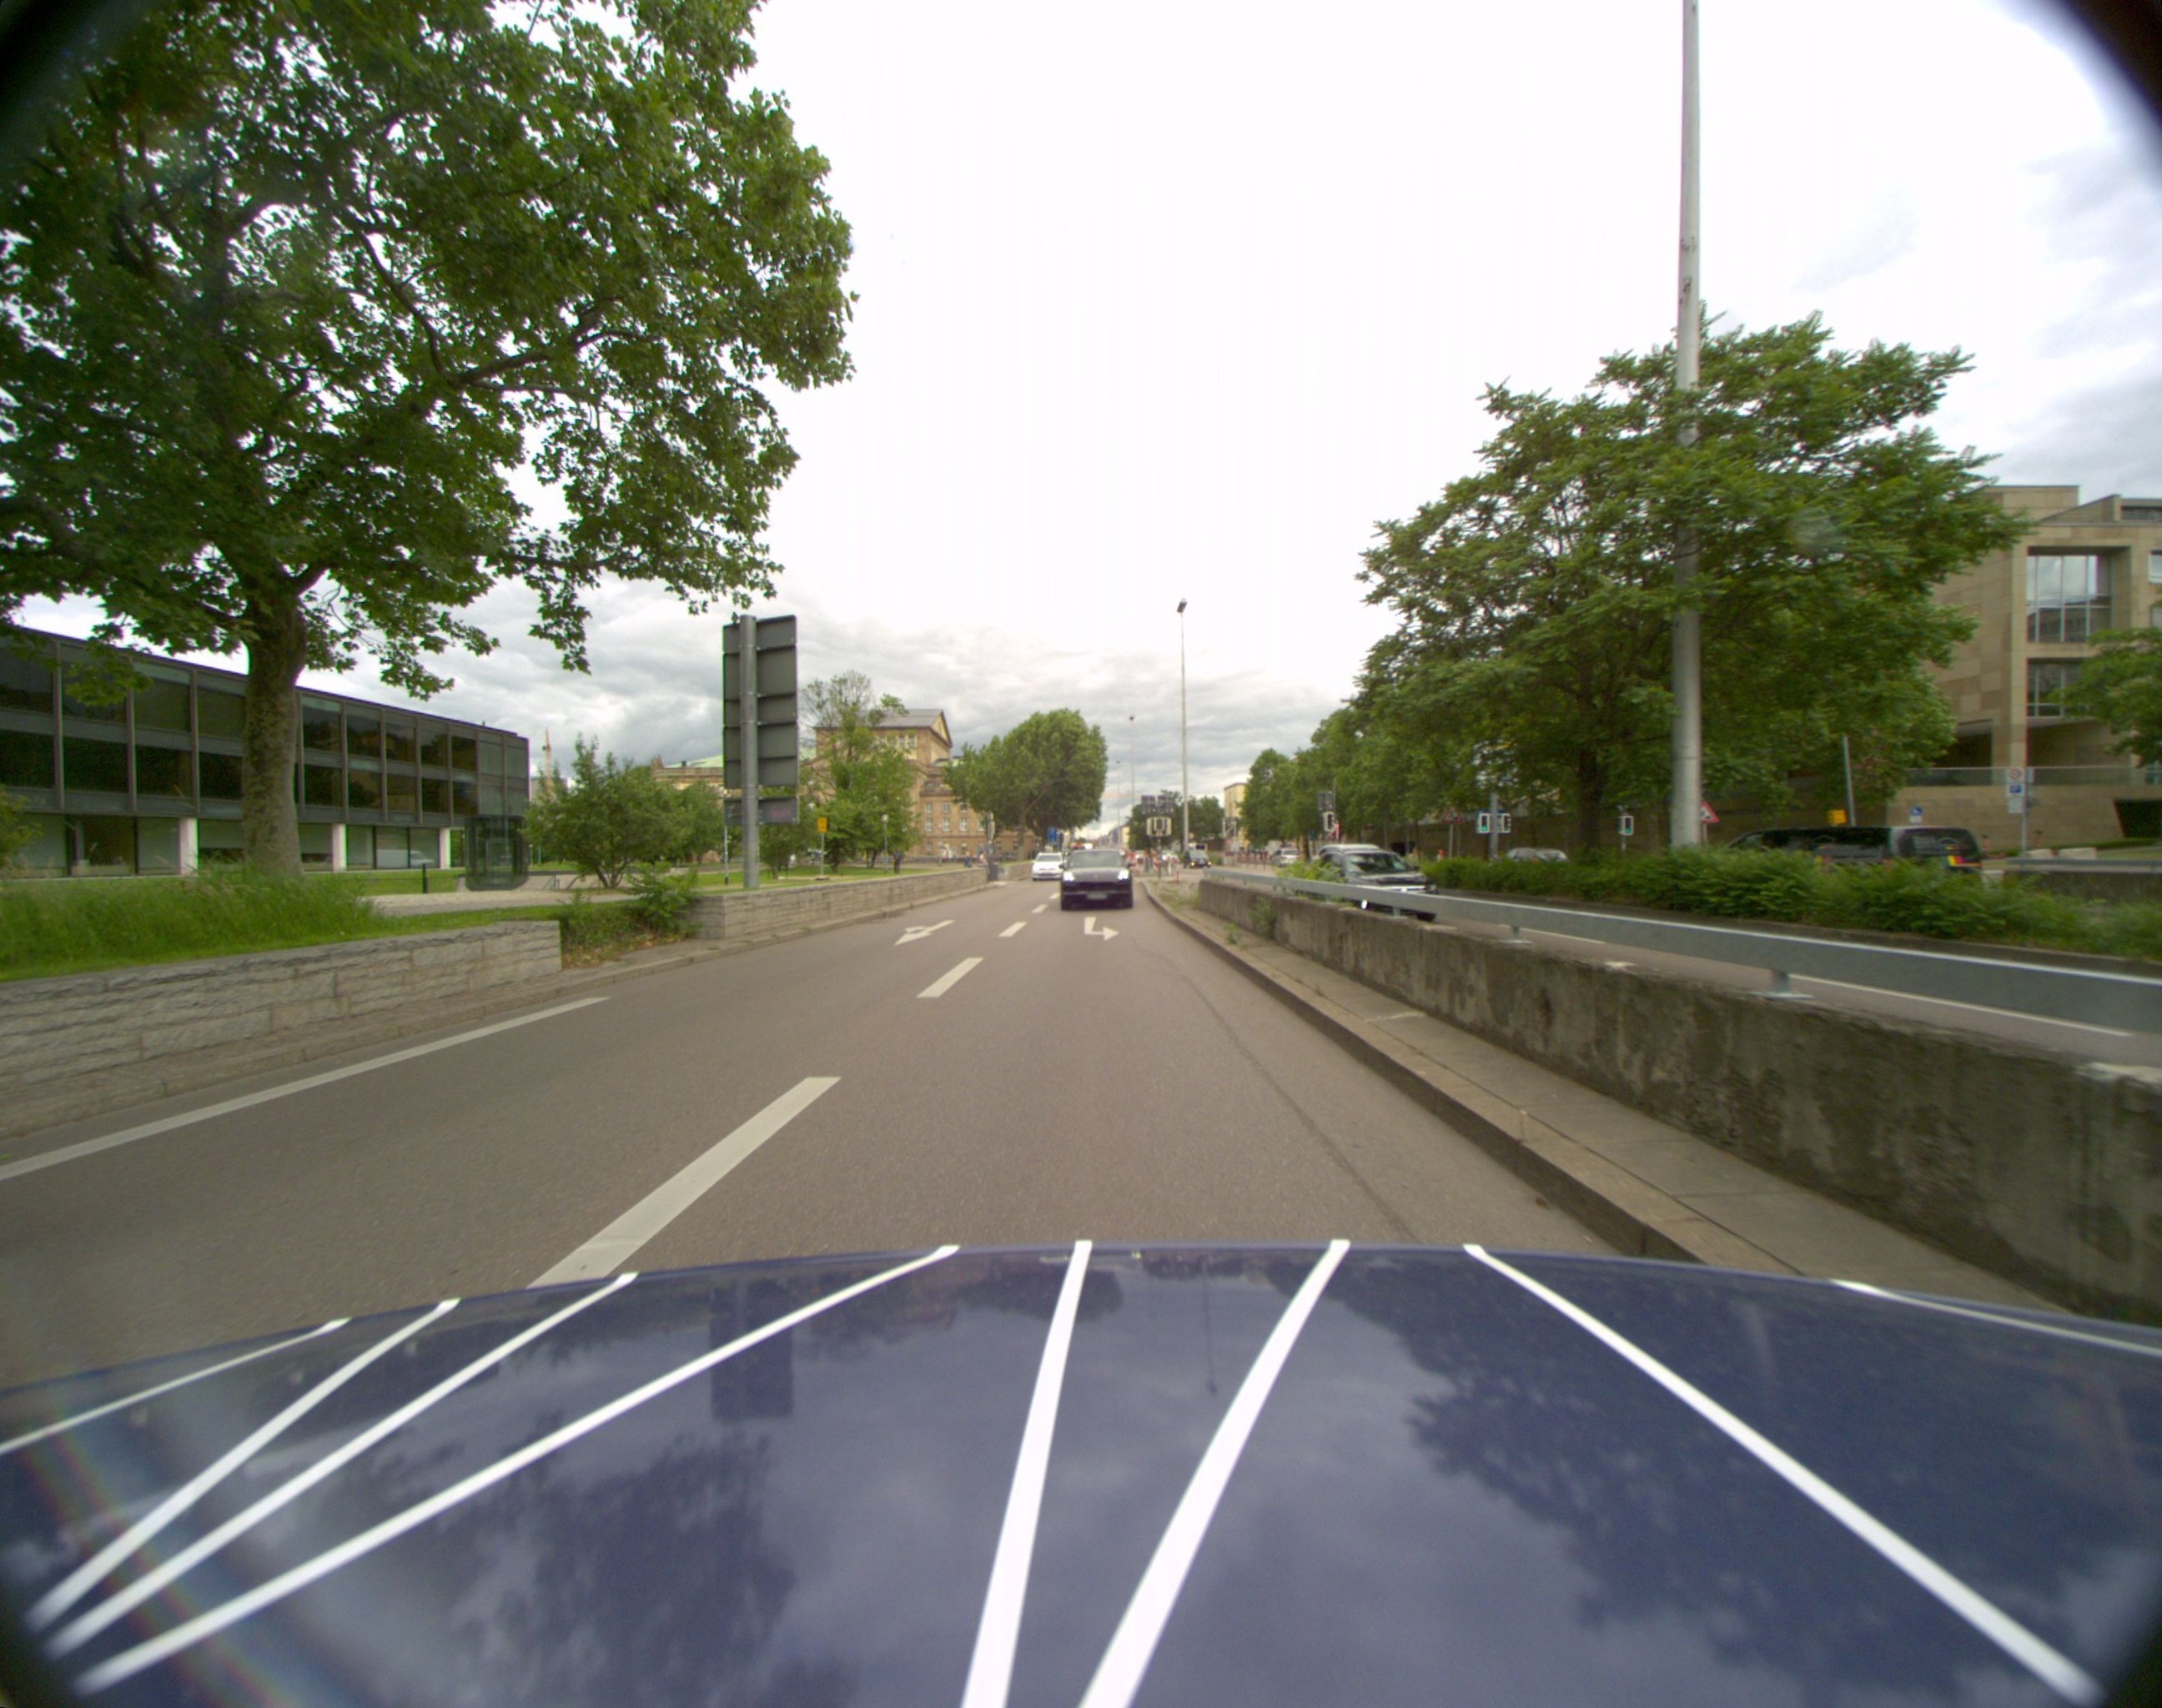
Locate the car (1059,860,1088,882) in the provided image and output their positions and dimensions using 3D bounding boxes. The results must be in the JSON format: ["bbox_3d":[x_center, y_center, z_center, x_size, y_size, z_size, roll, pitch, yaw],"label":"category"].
[{"bbox_3d":[-0.670,1.357,63.579,2.062,1.616,4.600,-3,0,-3],"label":"car"}]

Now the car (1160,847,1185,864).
[{"bbox_3d":[9.312,0.101,77.769,1.999,1.636,4.000,-2,0,0],"label":"car"}]

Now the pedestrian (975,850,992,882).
[{"bbox_3d":[-5.194,0.625,40.557,0.699,1.646,0.683,-3,2,0],"label":"pedestrian"}]

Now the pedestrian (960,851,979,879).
[{"bbox_3d":[-6.171,0.608,42.213,0.683,1.553,0.909,-1,0,18],"label":"pedestrian"}]

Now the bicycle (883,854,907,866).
[{"bbox_3d":[-18.255,0.602,74.606,2.197,1.135,0.686,0,1,1],"label":"bicycle"}]

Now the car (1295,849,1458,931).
[{"bbox_3d":[6.391,0.689,16.971,1.768,1.507,4.150,-2,1,-4],"label":"car"}]

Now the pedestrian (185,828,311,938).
[{"bbox_3d":[-13.873,0.459,12.690,0.898,1.722,0.969,-3,1,1],"label":"pedestrian"}]

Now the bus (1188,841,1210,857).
[{"bbox_3d":[24.788,-1.115,160.280,2.920,3.286,10.447,-1,1,-1],"label":"bus"}]

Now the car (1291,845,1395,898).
[{"bbox_3d":[9.006,0.525,26.606,1.998,1.607,4.737,-1,1,0],"label":"car"}]

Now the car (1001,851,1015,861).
[{"bbox_3d":[-11.690,0.327,121.868,1.768,1.508,4.219,-1,-1,2],"label":"car"}]

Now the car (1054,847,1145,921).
[{"bbox_3d":[0.376,0.714,20.888,2.062,1.617,4.599,-3,2,-3],"label":"car"}]

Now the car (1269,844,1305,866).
[{"bbox_3d":[17.134,0.066,63.354,1.760,1.647,3.998,-3,1,-1],"label":"car"}]

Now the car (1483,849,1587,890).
[{"bbox_3d":[18.699,0.583,31.534,1.760,1.453,3.998,-3,1,-2],"label":"car"}]

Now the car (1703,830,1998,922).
[{"bbox_3d":[16.042,0.395,16.272,1.861,1.707,4.445,0,0,1],"label":"car"}]

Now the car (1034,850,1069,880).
[{"bbox_3d":[-1.692,0.587,44.862,1.695,1.585,4.000,-2,1,2],"label":"car"}]

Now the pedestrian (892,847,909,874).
[{"bbox_3d":[-10.906,0.367,45.989,0.803,1.617,0.626,0,1,8],"label":"pedestrian"}]

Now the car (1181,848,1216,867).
[{"bbox_3d":[9.471,0.270,61.586,1.999,1.474,4.808,-1,0,-1],"label":"car"}]

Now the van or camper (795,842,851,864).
[{"bbox_3d":[-30.531,-0.130,89.880,5.711,2.307,2.319,-2,2,0],"label":"van or camper"}]
